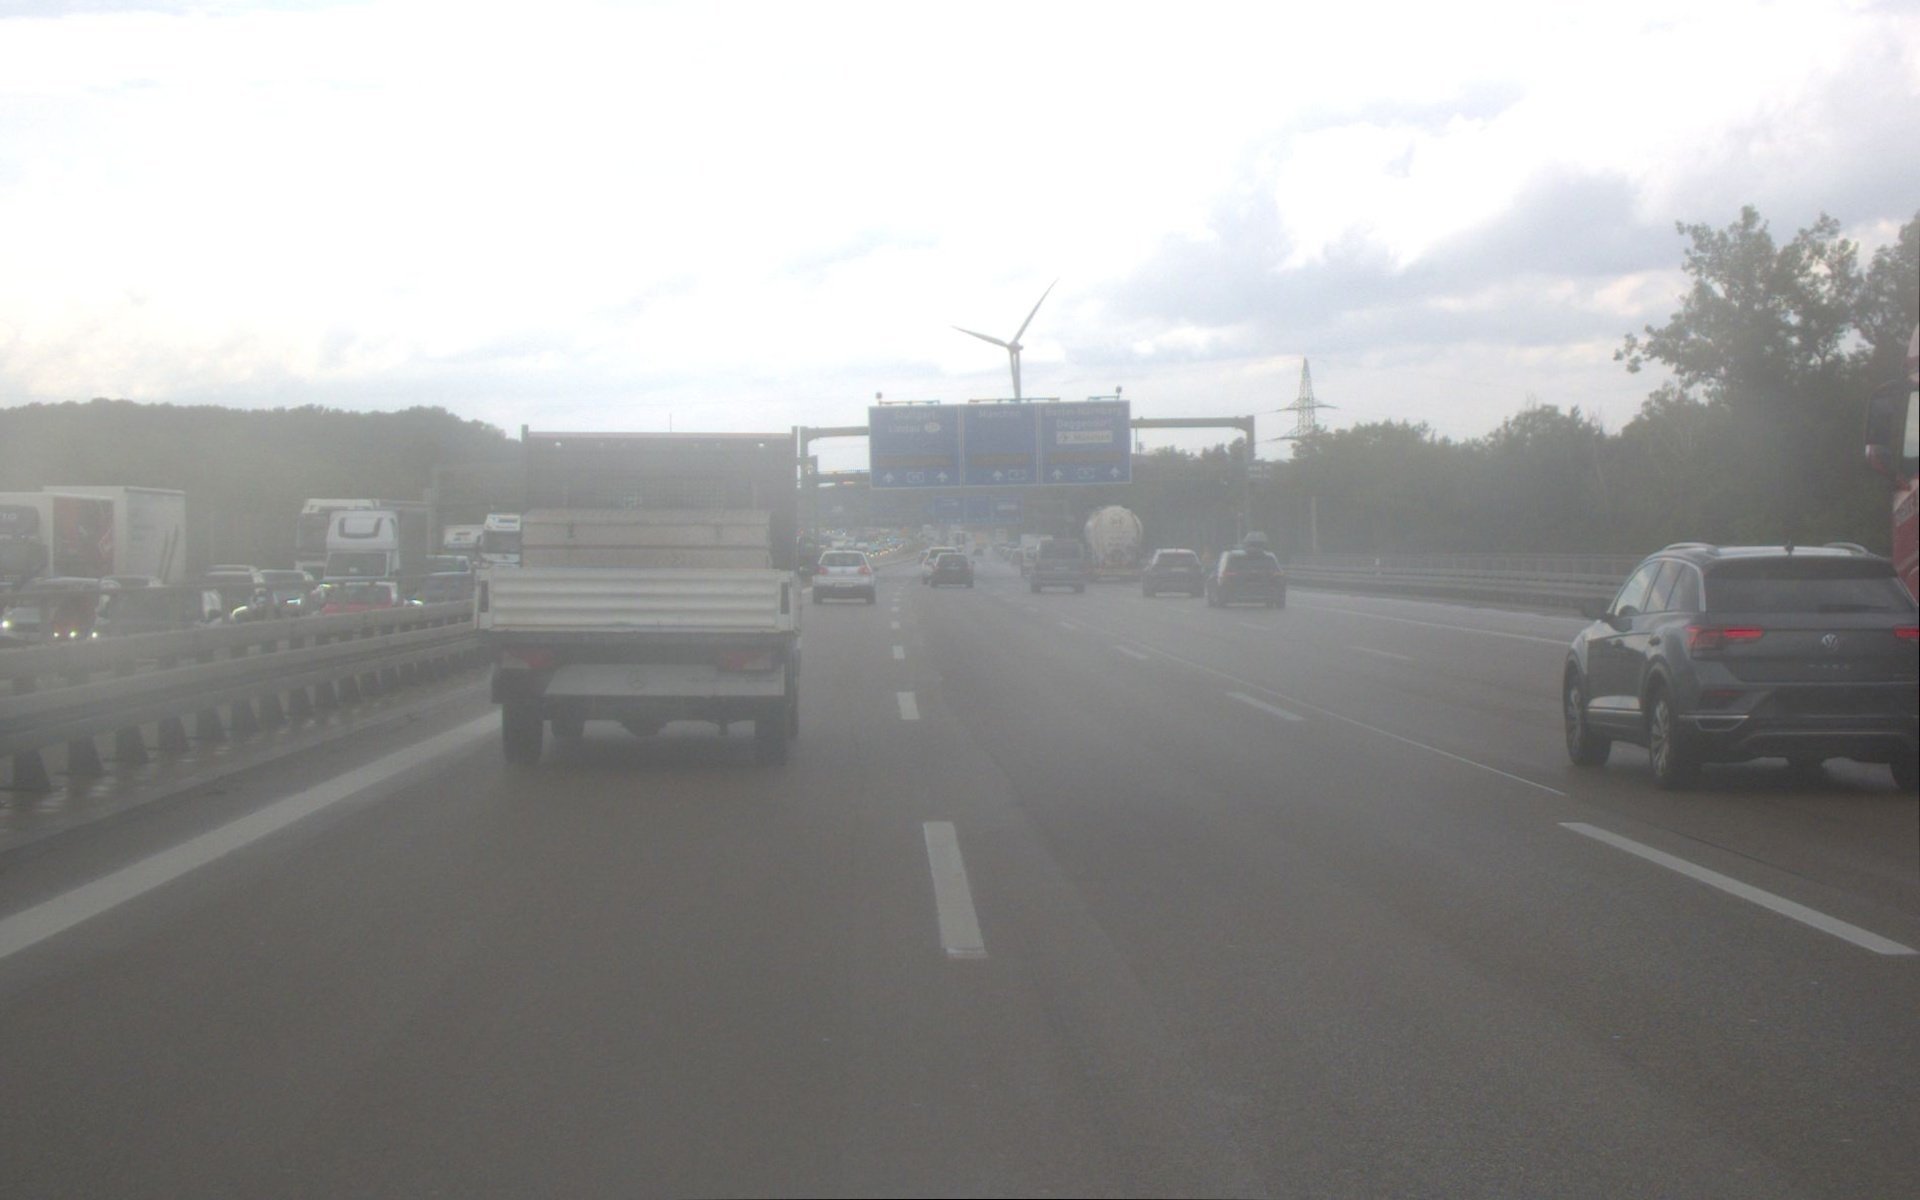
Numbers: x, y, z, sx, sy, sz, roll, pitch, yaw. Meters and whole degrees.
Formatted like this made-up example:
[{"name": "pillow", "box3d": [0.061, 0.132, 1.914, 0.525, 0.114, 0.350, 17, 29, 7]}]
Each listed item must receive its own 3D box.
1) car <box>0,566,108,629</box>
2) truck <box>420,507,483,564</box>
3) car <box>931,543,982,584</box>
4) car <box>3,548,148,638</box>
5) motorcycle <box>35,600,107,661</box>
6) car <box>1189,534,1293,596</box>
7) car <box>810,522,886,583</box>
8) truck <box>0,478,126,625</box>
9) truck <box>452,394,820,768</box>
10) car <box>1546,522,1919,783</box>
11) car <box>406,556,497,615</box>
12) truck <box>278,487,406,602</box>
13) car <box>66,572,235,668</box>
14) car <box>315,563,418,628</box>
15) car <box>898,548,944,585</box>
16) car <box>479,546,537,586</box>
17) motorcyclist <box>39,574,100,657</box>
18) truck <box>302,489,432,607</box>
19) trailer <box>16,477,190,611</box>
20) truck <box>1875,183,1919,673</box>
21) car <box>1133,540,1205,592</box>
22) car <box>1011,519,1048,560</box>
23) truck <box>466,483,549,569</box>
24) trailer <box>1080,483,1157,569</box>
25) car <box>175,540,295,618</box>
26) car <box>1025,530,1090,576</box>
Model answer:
[{"name": "car", "box3d": [-20.937, -0.069, 79.028, 1.668, 1.349, 4.218, -1, 1, -1]}, {"name": "truck", "box3d": [-27.714, -3.525, 187.538, 2.517, 2.976, 7.022, -1, 1, -1]}, {"name": "car", "box3d": [-0.175, -1.575, 145.853, 2.045, 1.693, 4.001, 0, 1, -2]}, {"name": "car", "box3d": [-16.835, -0.165, 65.642, 1.763, 1.619, 4.781, -1, 1, -3]}, {"name": "motorcycle", "box3d": [-14.907, 0.504, 57.676, 0.734, 0.962, 1.789, -1, 1, -1]}, {"name": "car", "box3d": [7.498, -0.965, 92.155, 2.104, 1.600, 5.066, 0, 1, -3]}, {"name": "car", "box3d": [-3.151, -1.369, 97.209, 2.045, 1.693, 4.000, 0, 1, 0]}, {"name": "truck", "box3d": [-26.260, -1.380, 96.601, 3.225, 3.896, 10.282, 0, 1, 0]}, {"name": "truck", "box3d": [-2.308, -0.197, 25.915, 2.352, 2.400, 7.359, 1, 1, -3]}, {"name": "car", "box3d": [5.077, 0.290, 22.438, 1.792, 1.557, 3.722, 0, 1, -1]}, {"name": "car", "box3d": [-14.045, -0.423, 95.176, 1.719, 1.497, 5.503, -1, 1, -1]}, {"name": "truck", "box3d": [-21.794, -1.956, 121.674, 3.199, 3.920, 7.574, 0, 1, -1]}, {"name": "car", "box3d": [-13.169, 0.295, 56.142, 1.832, 1.447, 4.000, -1, 1, -1]}, {"name": "car", "box3d": [-13.324, -0.127, 77.321, 1.573, 1.349, 4.384, -1, 1, -1]}, {"name": "car", "box3d": [-1.873, -1.616, 163.334, 1.972, 1.693, 4.001, 0, 1, -3]}, {"name": "car", "box3d": [-18.666, -1.424, 142.162, 1.821, 1.618, 4.698, -1, 1, -1]}, {"name": "motorcyclist", "box3d": [-14.910, 0.253, 57.564, 0.728, 1.337, 1.030, -1, 1, 0]}, {"name": "truck", "box3d": [-17.976, -1.605, 104.708, 2.519, 3.387, 8.541, -1, 1, -1]}, {"name": "trailer", "box3d": [-26.352, -1.723, 106.192, 3.219, 3.946, 8.851, 0, 1, -1]}, {"name": "truck", "box3d": [9.480, -1.260, 21.520, 3.152, 3.989, 15.638, 0, 1, -1]}, {"name": "car", "box3d": [7.043, -1.168, 116.187, 2.045, 1.693, 5.007, 0, 1, -1]}, {"name": "car", "box3d": [4.050, -3.540, 200.712, 1.993, 2.375, 4.650, -1, 1, -1]}, {"name": "truck", "box3d": [-22.521, -3.704, 171.470, 3.177, 4.179, 7.738, -1, 1, -1]}, {"name": "trailer", "box3d": [7.956, -3.726, 174.380, 3.333, 4.161, 11.838, 0, 1, 0]}, {"name": "car", "box3d": [-16.826, -0.516, 80.004, 1.719, 1.722, 5.105, -1, 1, -1]}, {"name": "car", "box3d": [3.607, -1.771, 127.913, 2.097, 1.693, 4.001, 0, 1, -3]}]
